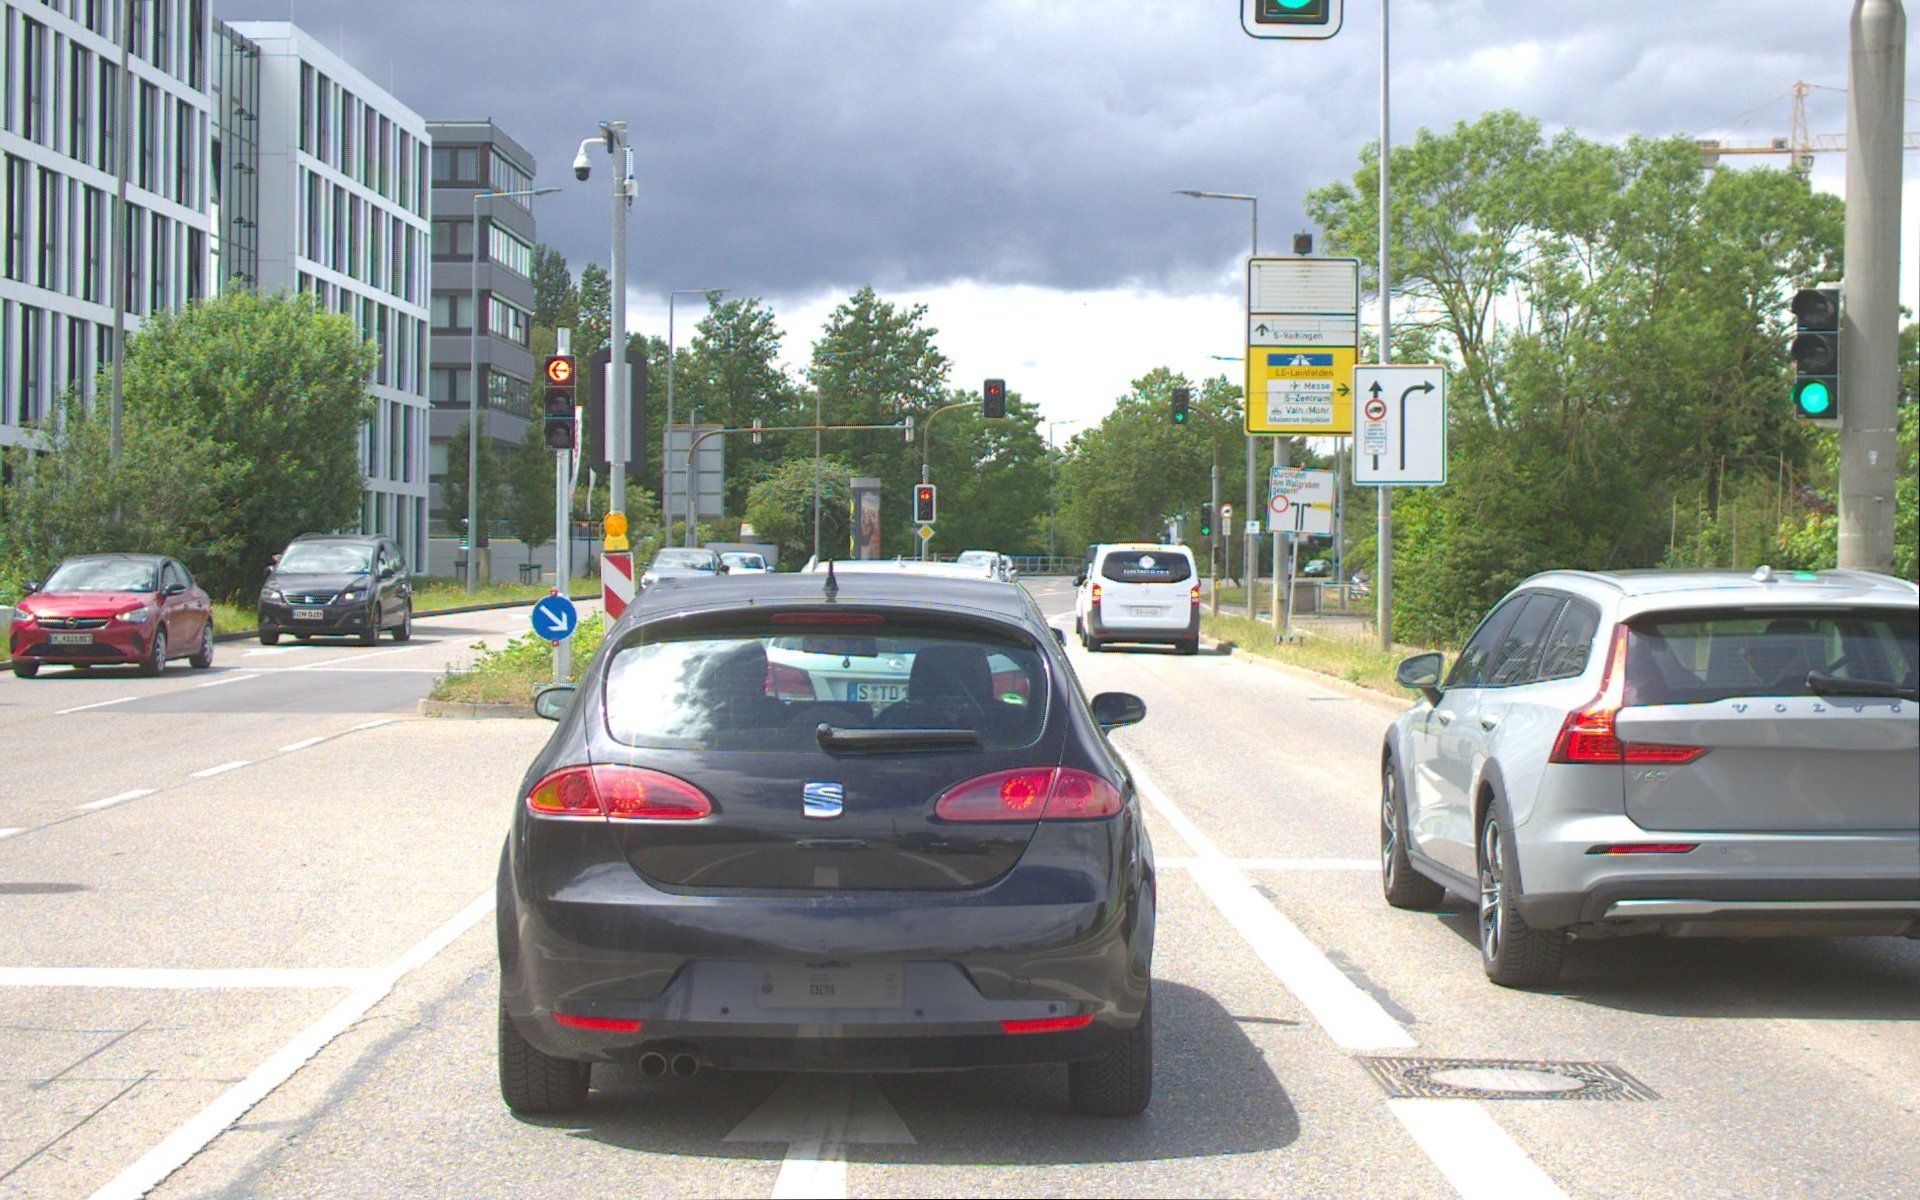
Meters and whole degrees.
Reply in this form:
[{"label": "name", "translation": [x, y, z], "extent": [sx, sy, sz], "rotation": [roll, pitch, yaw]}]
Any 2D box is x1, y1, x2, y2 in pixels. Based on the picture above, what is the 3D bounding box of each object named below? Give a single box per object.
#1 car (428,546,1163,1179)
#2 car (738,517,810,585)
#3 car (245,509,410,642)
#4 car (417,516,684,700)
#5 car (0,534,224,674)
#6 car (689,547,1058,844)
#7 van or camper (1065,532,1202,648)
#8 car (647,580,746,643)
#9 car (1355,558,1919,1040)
[{"label": "car", "translation": [-0.306, 0.623, 10.321], "extent": [1.748, 1.479, 4.000], "rotation": [2, 0, 3]}, {"label": "car", "translation": [-5.625, -1.468, 104.368], "extent": [1.993, 2.007, 4.000], "rotation": [0, 0, -1]}, {"label": "car", "translation": [-9.930, -0.378, 54.278], "extent": [1.993, 2.007, 4.481], "rotation": [0, 0, -3]}, {"label": "car", "translation": [-3.415, 0.056, 29.335], "extent": [1.845, 1.456, 4.056], "rotation": [0, 0, -1]}, {"label": "car", "translation": [-10.156, 0.039, 41.342], "extent": [1.776, 1.606, 4.000], "rotation": [0, 0, 0]}, {"label": "car", "translation": [-0.518, 0.491, 20.808], "extent": [1.983, 1.585, 4.226], "rotation": [1, 1, -1]}, {"label": "van or camper", "translation": [2.939, -0.170, 59.084], "extent": [1.899, 1.919, 4.000], "rotation": [0, 0, -4]}, {"label": "car", "translation": [-5.971, 0.246, 78.314], "extent": [1.993, 1.404, 4.000], "rotation": [0, 0, -1]}, {"label": "car", "translation": [2.779, 0.625, 13.203], "extent": [1.958, 1.520, 4.340], "rotation": [-1, 0, -1]}]
